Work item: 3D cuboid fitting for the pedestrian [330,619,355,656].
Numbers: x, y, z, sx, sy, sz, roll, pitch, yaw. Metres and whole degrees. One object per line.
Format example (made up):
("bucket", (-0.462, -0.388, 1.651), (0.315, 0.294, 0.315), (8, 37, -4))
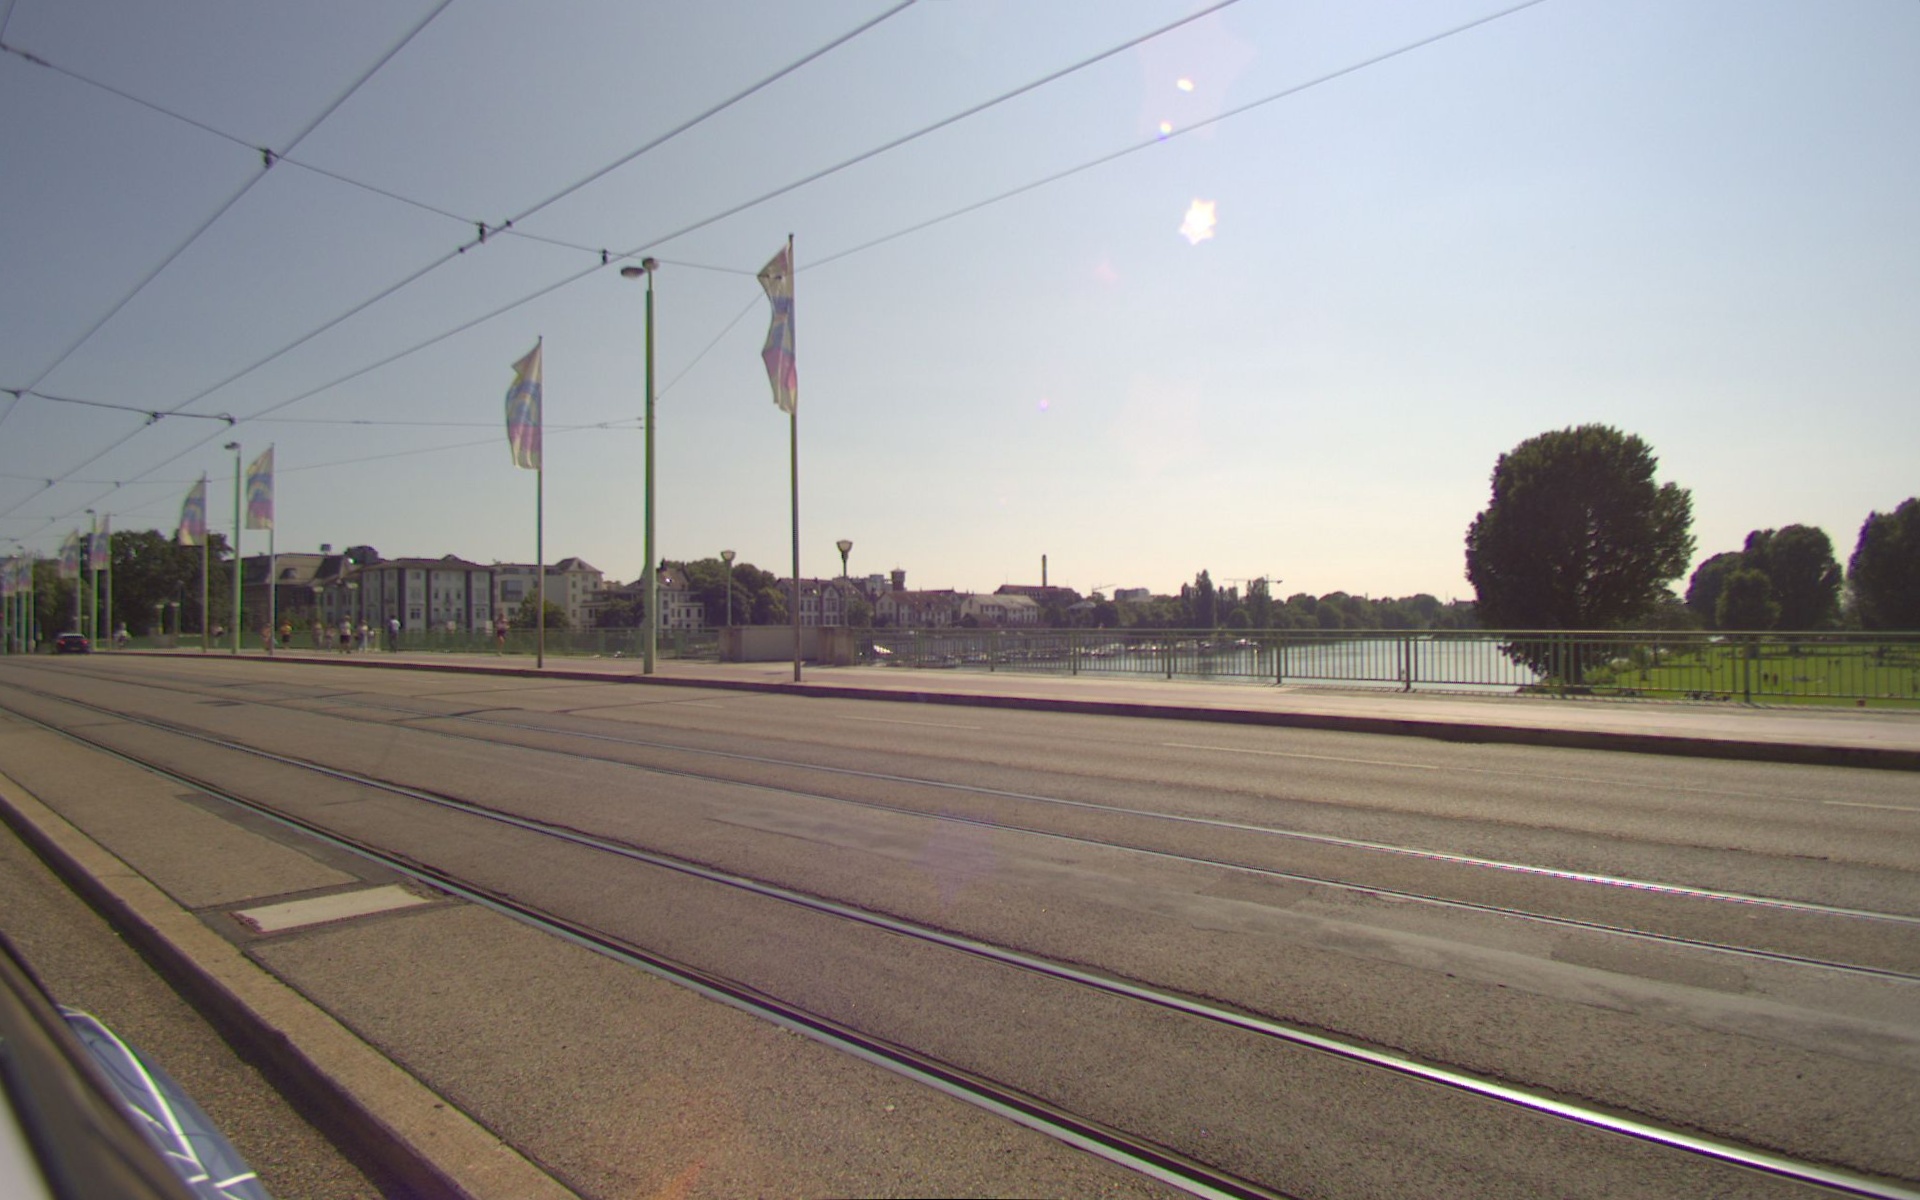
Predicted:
("pedestrian", (-29.314, 1.779, 48.035), (1.022, 1.712, 0.663), (-2, 0, 41))

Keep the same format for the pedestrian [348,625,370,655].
("pedestrian", (-28.724, 1.911, 48.355), (1.022, 1.425, 0.584), (-2, 0, 41))

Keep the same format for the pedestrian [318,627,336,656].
("pedestrian", (-32.934, 2.148, 52.649), (0.788, 1.448, 0.540), (-2, 0, 41))

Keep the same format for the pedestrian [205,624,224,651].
("pedestrian", (-49.171, 2.486, 66.737), (1.022, 1.712, 0.777), (-2, 0, 41))

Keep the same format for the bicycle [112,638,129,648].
("bicycle", (-63.983, 3.274, 77.119), (2.171, 0.721, 0.658), (-2, -2, 41))

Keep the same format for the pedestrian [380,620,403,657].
("pedestrian", (-26.977, 1.811, 48.043), (1.022, 1.712, 0.584), (-2, 0, 41))

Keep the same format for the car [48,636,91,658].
("car", (-61.332, 3.226, 69.680), (3.899, 1.466, 1.698), (-2, -3, 41))

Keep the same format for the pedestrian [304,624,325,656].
("pedestrian", (-33.203, 2.065, 52.032), (1.022, 1.611, 0.620), (-2, 0, 41))

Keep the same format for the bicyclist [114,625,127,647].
("bicyclist", (-63.943, 2.707, 77.085), (0.621, 1.663, 0.657), (-2, -2, 41))

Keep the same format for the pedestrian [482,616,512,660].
("pedestrian", (-18.414, 1.511, 40.271), (1.022, 1.703, 0.677), (-2, 0, 41))

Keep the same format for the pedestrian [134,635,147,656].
("pedestrian", (-69.674, 3.831, 86.079), (0.904, 1.712, 0.584), (-2, 3, 41))

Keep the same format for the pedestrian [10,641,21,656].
("pedestrian", (-108.483, 5.593, 116.293), (1.022, 1.712, 0.777), (-2, 0, 41))

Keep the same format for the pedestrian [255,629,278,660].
("pedestrian", (-38.666, 2.467, 56.393), (1.022, 1.712, 0.777), (-2, 0, 41))
